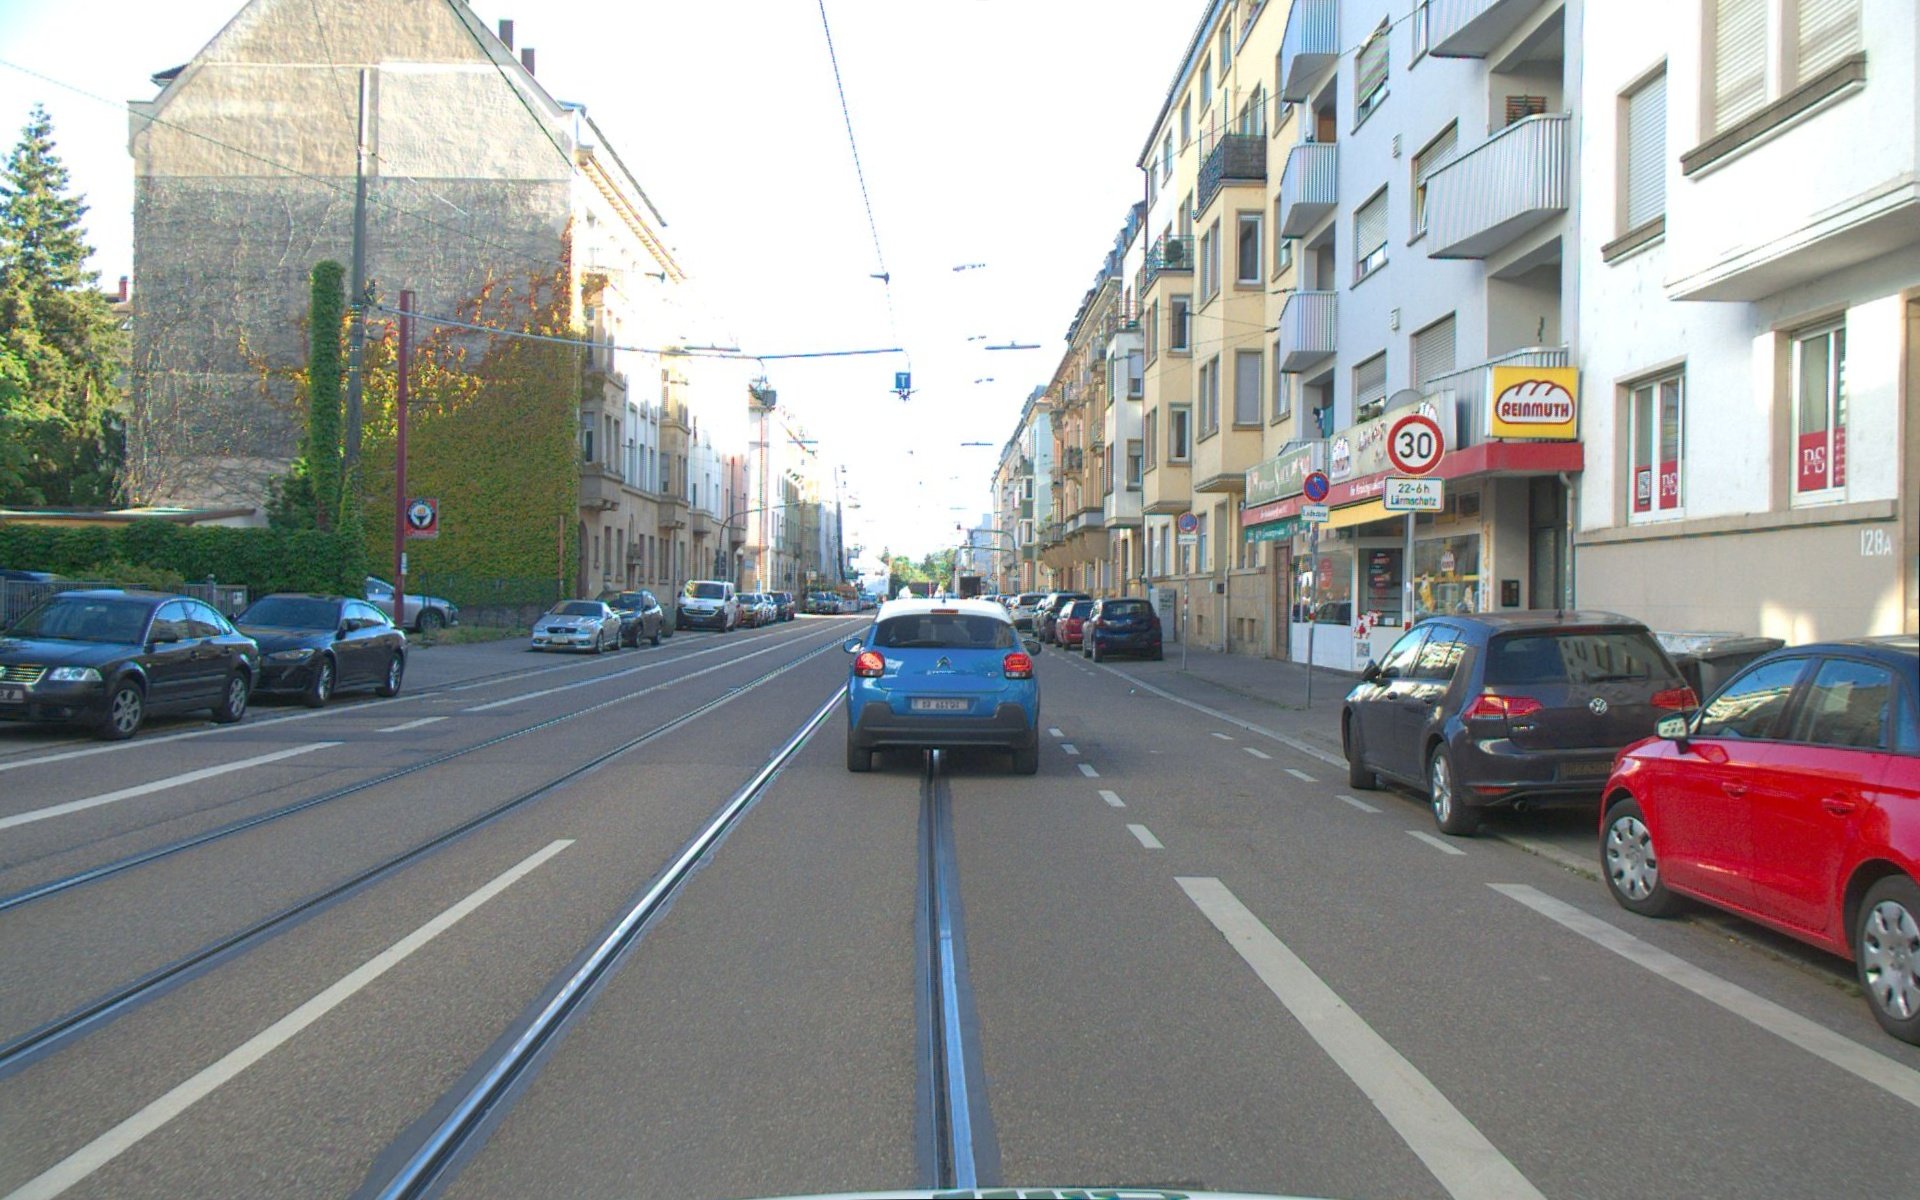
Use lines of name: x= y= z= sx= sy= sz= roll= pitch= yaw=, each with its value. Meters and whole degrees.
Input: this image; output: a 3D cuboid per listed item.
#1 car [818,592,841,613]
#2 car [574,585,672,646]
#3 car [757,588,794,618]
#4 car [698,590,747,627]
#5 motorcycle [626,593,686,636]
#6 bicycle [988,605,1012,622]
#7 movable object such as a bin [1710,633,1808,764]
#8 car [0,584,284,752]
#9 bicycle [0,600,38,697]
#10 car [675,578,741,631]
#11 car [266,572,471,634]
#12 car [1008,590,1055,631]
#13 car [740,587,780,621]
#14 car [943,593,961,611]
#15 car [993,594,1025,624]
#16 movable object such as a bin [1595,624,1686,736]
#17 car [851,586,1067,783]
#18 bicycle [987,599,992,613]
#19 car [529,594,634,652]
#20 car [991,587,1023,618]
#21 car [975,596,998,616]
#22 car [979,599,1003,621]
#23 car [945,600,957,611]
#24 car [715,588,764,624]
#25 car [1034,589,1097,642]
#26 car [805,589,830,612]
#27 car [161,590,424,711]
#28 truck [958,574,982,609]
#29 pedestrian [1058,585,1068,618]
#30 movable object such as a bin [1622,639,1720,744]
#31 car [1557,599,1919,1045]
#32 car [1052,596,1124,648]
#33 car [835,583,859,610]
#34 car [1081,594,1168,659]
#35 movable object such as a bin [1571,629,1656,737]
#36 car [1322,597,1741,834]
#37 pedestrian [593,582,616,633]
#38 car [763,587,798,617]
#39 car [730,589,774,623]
car: x=-10.938 y=0.199 z=138.779 sx=1.748 sy=1.655 sz=4.606 roll=2 pitch=0 yaw=-3
car: x=-9.708 y=0.428 z=47.963 sx=1.746 sy=1.592 sz=4.611 roll=2 pitch=0 yaw=1
car: x=-10.310 y=0.187 z=92.508 sx=1.747 sy=1.580 sz=3.018 roll=2 pitch=0 yaw=-1
car: x=-10.263 y=0.348 z=71.623 sx=1.570 sy=1.498 sz=3.645 roll=2 pitch=0 yaw=-1
motorcycle: x=-10.021 y=0.475 z=54.615 sx=0.867 sy=1.375 sz=1.953 roll=1 pitch=0 yaw=31
bicycle: x=2.952 y=1.015 z=122.762 sx=1.687 sy=1.174 sz=0.469 roll=-3 pitch=0 yaw=-1
movable object such as a bin: x=6.826 y=0.834 z=14.145 sx=0.547 sy=1.075 sz=0.554 roll=1 pitch=0 yaw=-2
car: x=-9.076 y=0.618 z=17.756 sx=1.747 sy=1.507 sz=4.698 roll=2 pitch=0 yaw=-2
bicycle: x=-12.020 y=0.595 z=20.129 sx=0.430 sy=1.195 sz=2.050 roll=1 pitch=0 yaw=0
car: x=-10.042 y=0.168 z=66.274 sx=1.933 sy=1.983 sz=5.250 roll=2 pitch=0 yaw=-2
car: x=-15.453 y=0.090 z=43.293 sx=4.740 sy=1.544 sz=1.976 roll=1 pitch=0 yaw=-35
car: x=3.113 y=0.438 z=72.550 sx=1.805 sy=1.720 sz=4.504 roll=0 pitch=0 yaw=-1
car: x=-10.456 y=0.192 z=86.803 sx=1.748 sy=1.650 sz=4.177 roll=2 pitch=0 yaw=-3
car: x=-0.883 y=0.191 z=177.915 sx=1.784 sy=1.927 sz=3.999 roll=1 pitch=0 yaw=-1
car: x=2.760 y=0.492 z=93.638 sx=1.717 sy=1.622 sz=3.729 roll=0 pitch=0 yaw=0
movable object such as a bin: x=6.878 y=0.798 z=16.731 sx=0.662 sy=1.091 sz=0.569 roll=1 pitch=0 yaw=-2
car: x=-0.028 y=0.684 z=15.448 sx=1.700 sy=1.533 sz=3.992 roll=2 pitch=0 yaw=-1
bicycle: x=2.200 y=0.437 z=122.430 sx=0.345 sy=1.063 sz=1.728 roll=0 pitch=0 yaw=1
car: x=-9.722 y=0.558 z=42.726 sx=1.747 sy=1.337 sz=4.220 roll=2 pitch=0 yaw=-1
car: x=2.816 y=0.151 z=100.498 sx=1.717 sy=1.766 sz=4.506 roll=-3 pitch=0 yaw=-1
car: x=2.115 y=0.455 z=133.165 sx=1.747 sy=1.603 sz=4.325 roll=0 pitch=0 yaw=-1
car: x=2.385 y=0.757 z=127.612 sx=1.747 sy=1.660 sz=3.999 roll=0 pitch=0 yaw=-1
car: x=-1.297 y=0.746 z=231.532 sx=1.729 sy=1.513 sz=4.031 roll=0 pitch=0 yaw=-1
car: x=-10.097 y=0.263 z=76.129 sx=1.747 sy=1.550 sz=4.358 roll=2 pitch=0 yaw=-2
car: x=3.518 y=0.489 z=55.828 sx=1.821 sy=1.695 sz=4.561 roll=0 pitch=0 yaw=0
car: x=-10.977 y=0.038 z=127.593 sx=1.748 sy=1.720 sz=4.665 roll=2 pitch=0 yaw=-3
car: x=-9.235 y=0.637 z=23.380 sx=1.747 sy=1.471 sz=4.841 roll=2 pitch=0 yaw=-1
truck: x=1.146 y=-0.995 z=198.341 sx=2.794 sy=4.154 sz=11.270 roll=0 pitch=0 yaw=0
pedestrian: x=5.363 y=0.068 z=86.045 sx=0.502 sy=1.716 sz=0.448 roll=0 pitch=0 yaw=-1
movable object such as a bin: x=6.580 y=0.839 z=15.325 sx=0.642 sy=0.932 sz=0.569 roll=1 pitch=0 yaw=-2
car: x=4.284 y=0.784 z=7.311 sx=1.819 sy=1.498 sz=3.988 roll=-2 pitch=0 yaw=0
car: x=3.793 y=0.617 z=49.557 sx=1.821 sy=1.481 sz=4.710 roll=0 pitch=0 yaw=0
car: x=-11.022 y=-0.315 z=161.799 sx=2.102 sy=2.518 sz=4.977 roll=2 pitch=0 yaw=-3
car: x=4.027 y=0.620 z=41.012 sx=1.683 sy=1.517 sz=4.001 roll=-1 pitch=0 yaw=-1
movable object such as a bin: x=6.866 y=0.864 z=17.391 sx=0.662 sy=1.091 sz=0.569 roll=0 pitch=0 yaw=-2
car: x=4.086 y=0.724 z=12.624 sx=1.675 sy=1.432 sz=4.358 roll=-2 pitch=0 yaw=0
pedestrian: x=-12.342 y=0.256 z=57.436 sx=0.666 sy=1.754 sz=0.616 roll=1 pitch=0 yaw=-1
car: x=-10.465 y=0.115 z=96.655 sx=1.748 sy=1.634 sz=4.395 roll=2 pitch=0 yaw=-3
car: x=-10.214 y=0.277 z=81.496 sx=1.736 sy=1.574 sz=4.363 roll=2 pitch=0 yaw=-3
